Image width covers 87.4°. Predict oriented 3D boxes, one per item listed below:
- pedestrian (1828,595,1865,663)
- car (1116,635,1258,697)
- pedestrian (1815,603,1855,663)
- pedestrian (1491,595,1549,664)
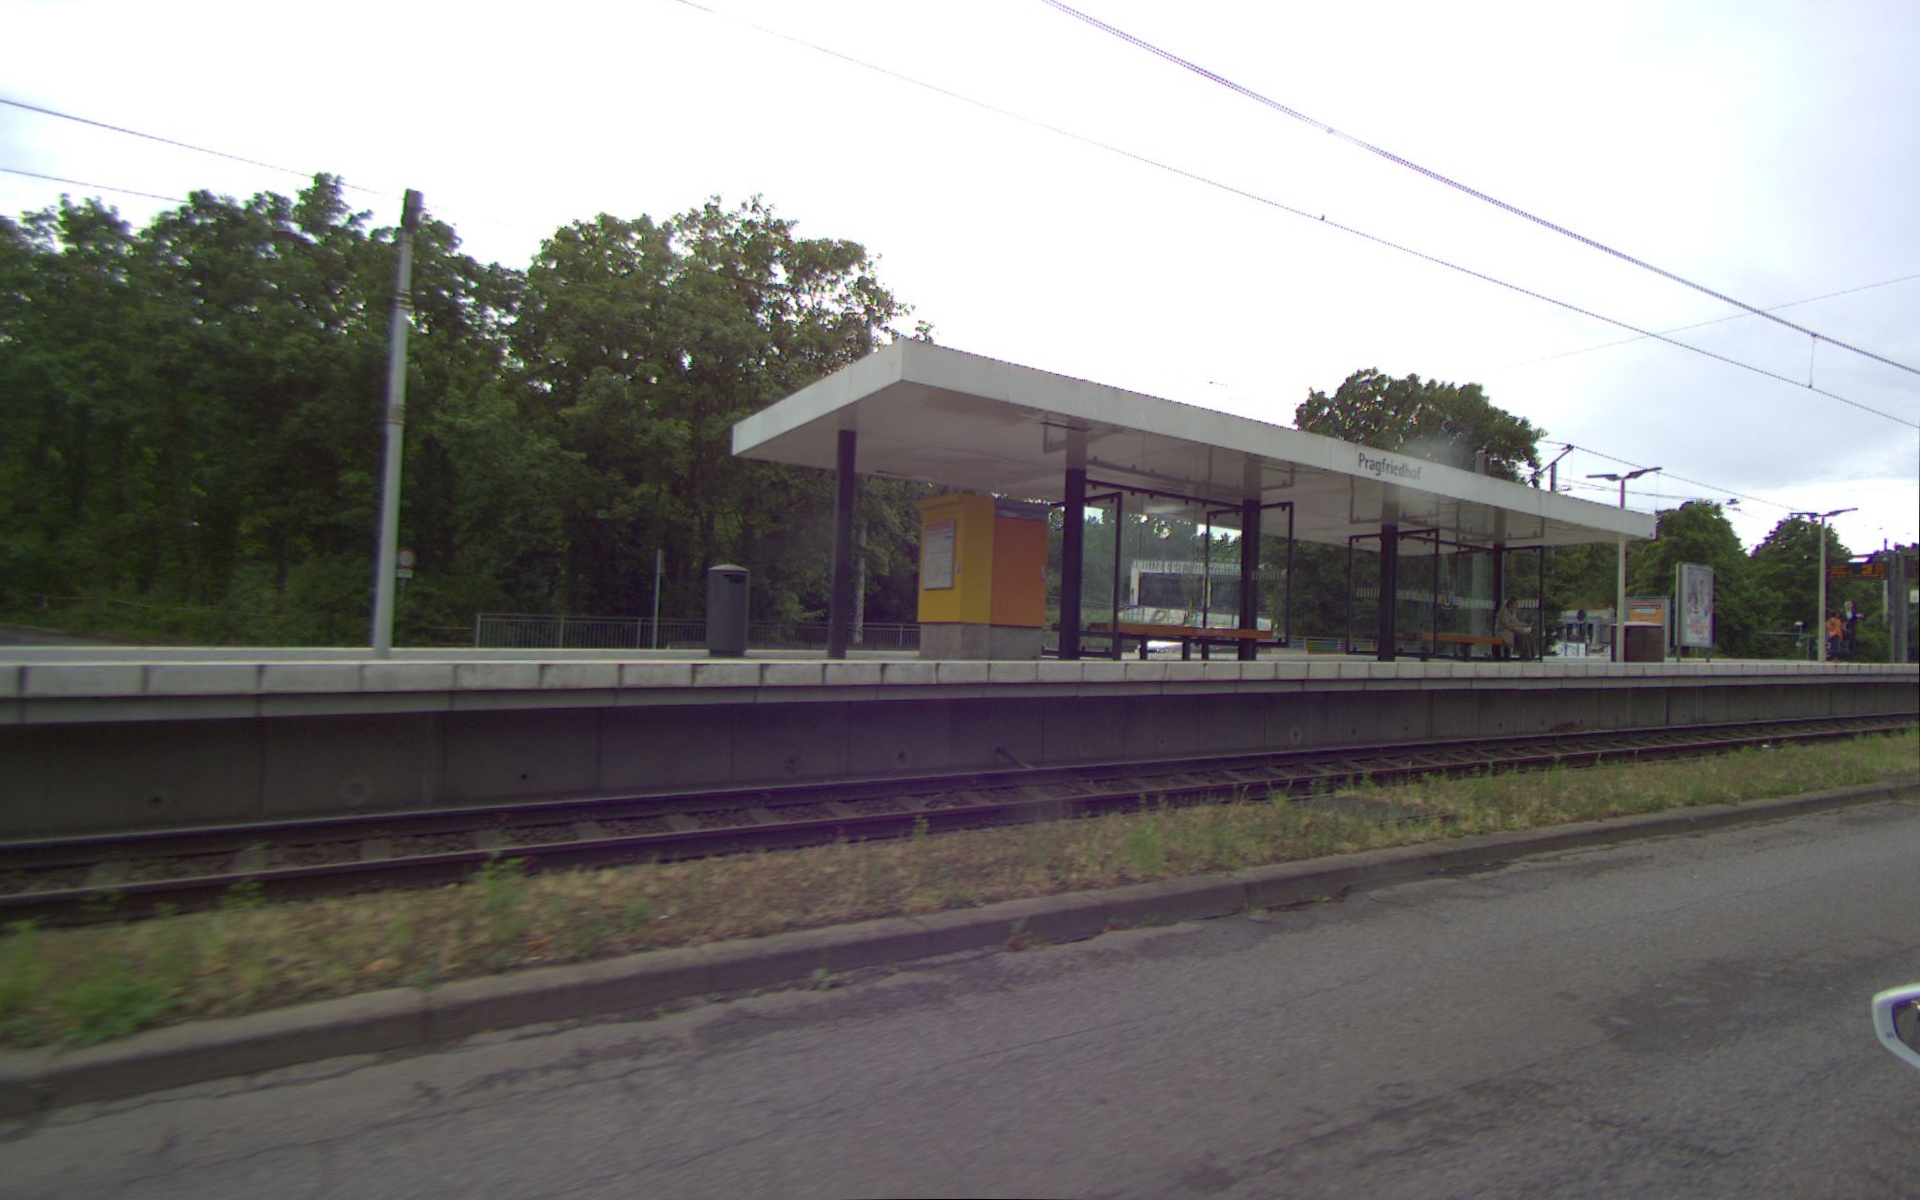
[{"bbox_3d":[25.931,0.822,29.386,0.734,1.935,0.838,2,1,39],"label":"pedestrian"},{"bbox_3d":[7.539,2.176,33.305,4.467,1.901,1.983,3,-2,-31],"label":"car"},{"bbox_3d":[25.094,0.939,28.830,0.785,1.669,0.915,2,1,39],"label":"pedestrian"},{"bbox_3d":[10.400,0.547,18.649,0.612,1.242,0.707,2,-1,-30],"label":"pedestrian"}]
